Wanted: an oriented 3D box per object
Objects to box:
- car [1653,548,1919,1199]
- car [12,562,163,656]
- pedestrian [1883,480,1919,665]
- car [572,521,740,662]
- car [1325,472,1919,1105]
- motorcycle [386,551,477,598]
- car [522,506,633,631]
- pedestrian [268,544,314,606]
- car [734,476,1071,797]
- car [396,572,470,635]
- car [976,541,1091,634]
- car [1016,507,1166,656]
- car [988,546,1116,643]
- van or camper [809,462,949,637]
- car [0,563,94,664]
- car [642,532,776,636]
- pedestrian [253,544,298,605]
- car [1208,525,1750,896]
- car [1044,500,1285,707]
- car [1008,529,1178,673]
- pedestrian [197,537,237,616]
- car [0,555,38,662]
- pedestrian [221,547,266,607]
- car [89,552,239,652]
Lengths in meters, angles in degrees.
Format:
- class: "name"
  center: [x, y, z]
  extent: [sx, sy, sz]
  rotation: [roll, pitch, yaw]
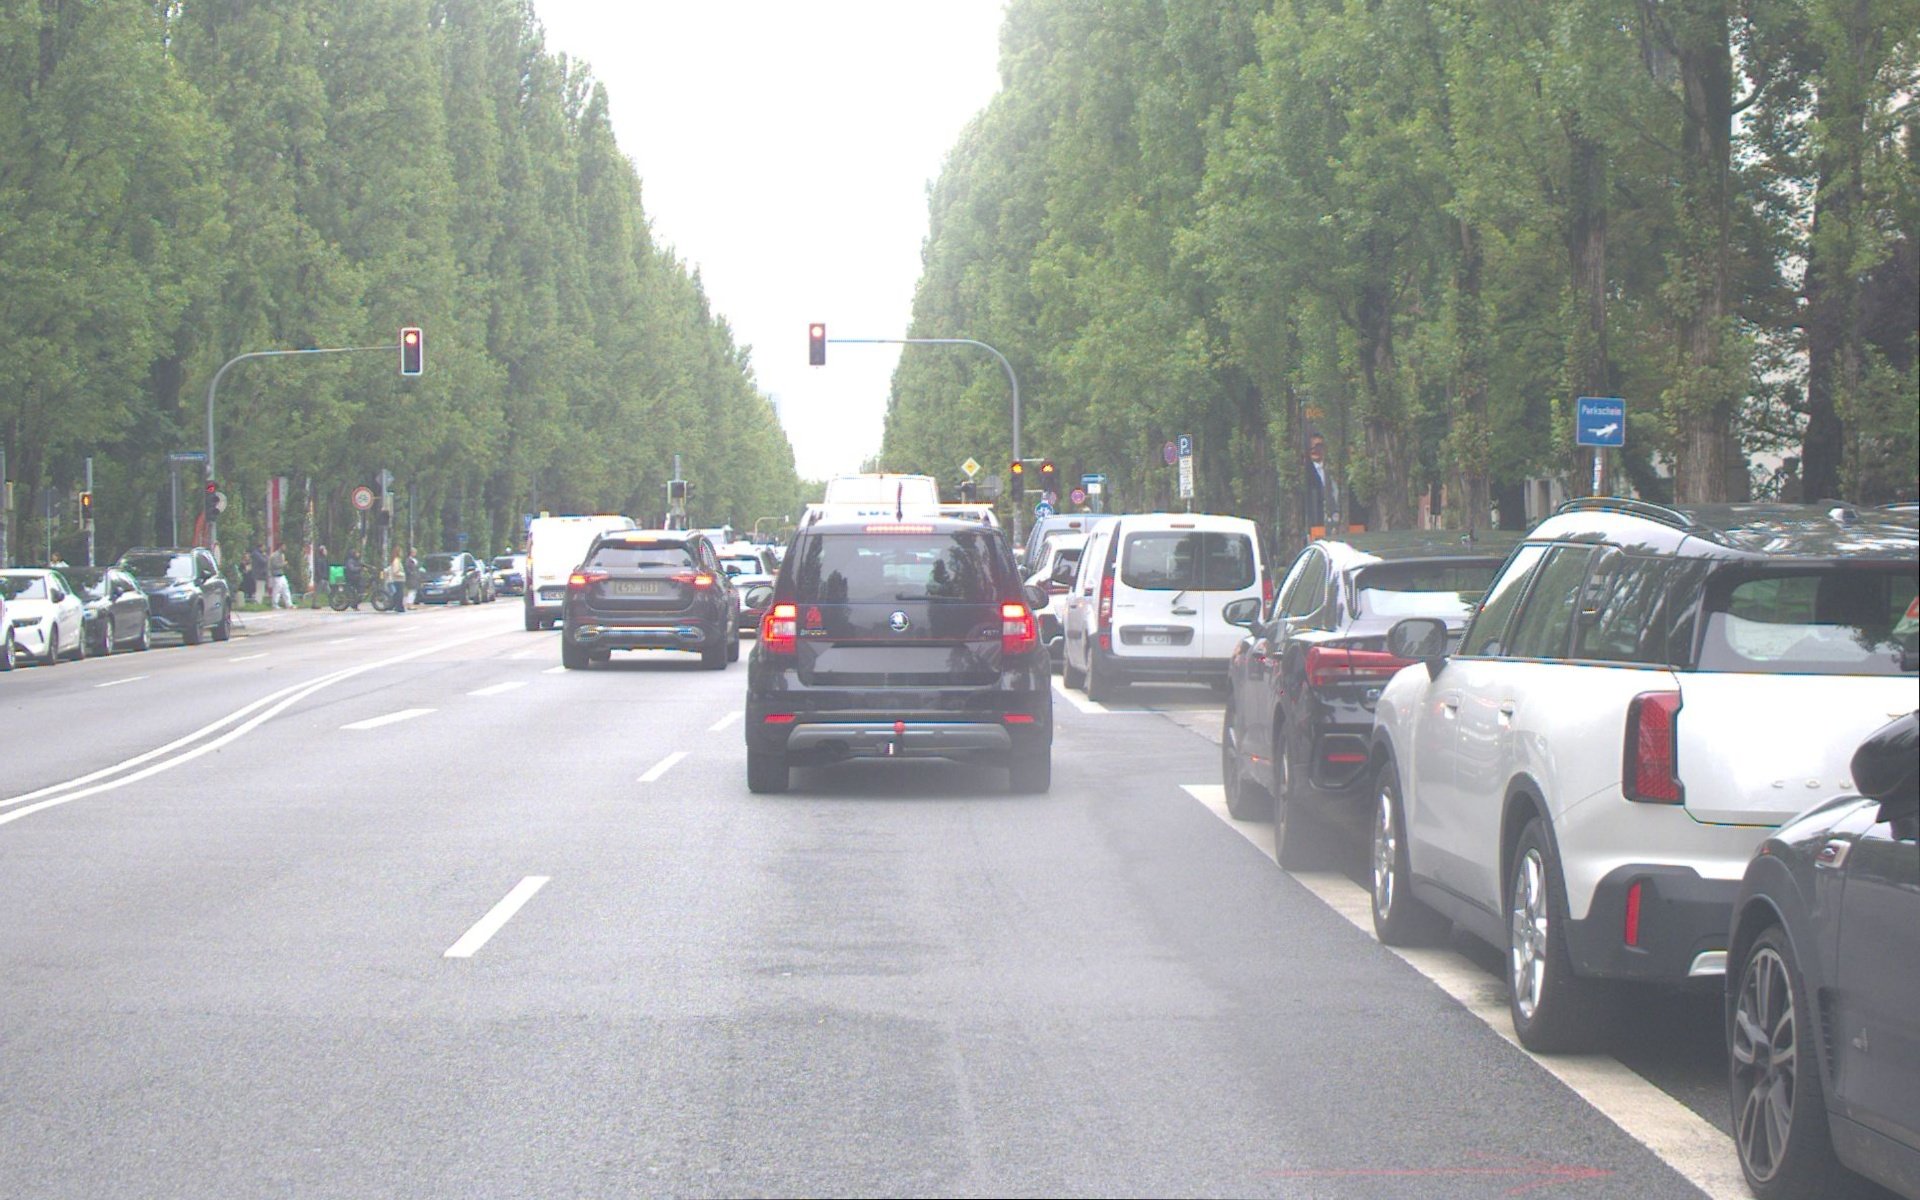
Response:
- class: "car"
  center: [2.655, 0.673, 6.511]
  extent: [1.702, 1.514, 4.295]
  rotation: [-1, 1, -2]
- class: "car"
  center: [-14.366, 0.122, 56.774]
  extent: [1.623, 1.384, 4.167]
  rotation: [-3, 1, -4]
- class: "pedestrian"
  center: [9.263, -0.273, 32.337]
  extent: [0.853, 1.711, 0.867]
  rotation: [-2, 1, -2]
- class: "car"
  center: [-3.619, -0.143, 41.505]
  extent: [1.781, 1.614, 4.025]
  rotation: [0, 1, -1]
- class: "car"
  center: [2.396, 0.444, 11.436]
  extent: [1.742, 1.670, 4.580]
  rotation: [-1, 1, -2]
- class: "motorcycle"
  center: [-14.580, -0.713, 94.805]
  extent: [2.363, 1.265, 0.930]
  rotation: [0, 1, -1]
- class: "car"
  center: [-6.662, -0.576, 60.162]
  extent: [1.781, 2.104, 4.025]
  rotation: [0, 1, -4]
- class: "pedestrian"
  center: [-18.232, -0.688, 93.661]
  extent: [0.880, 1.649, 0.878]
  rotation: [-2, 1, -39]
- class: "car"
  center: [-0.364, 0.172, 21.326]
  extent: [1.855, 1.764, 4.000]
  rotation: [1, 1, -1]
- class: "car"
  center: [-15.813, 0.098, 103.265]
  extent: [1.688, 1.776, 3.775]
  rotation: [-1, 1, -1]
- class: "car"
  center: [1.207, -0.230, 57.550]
  extent: [1.735, 1.470, 3.563]
  rotation: [-1, 1, -1]
- class: "car"
  center: [1.714, -0.281, 46.177]
  extent: [1.735, 1.889, 4.025]
  rotation: [-1, 1, -1]
- class: "car"
  center: [1.365, -0.108, 52.047]
  extent: [1.735, 1.382, 3.563]
  rotation: [-1, 1, -1]
- class: "van or camper"
  center: [-1.273, -0.783, 52.467]
  extent: [1.975, 2.539, 4.025]
  rotation: [-1, 1, -3]
- class: "car"
  center: [-14.110, 0.197, 51.221]
  extent: [1.623, 1.384, 4.168]
  rotation: [-3, 1, -5]
- class: "car"
  center: [-4.006, -0.291, 55.396]
  extent: [1.993, 1.555, 4.001]
  rotation: [-1, 2, -2]
- class: "pedestrian"
  center: [-18.788, -0.697, 94.373]
  extent: [0.880, 1.649, 0.878]
  rotation: [-2, 1, -39]
- class: "car"
  center: [2.348, 0.416, 16.703]
  extent: [1.880, 1.535, 4.464]
  rotation: [-1, 1, -1]
- class: "car"
  center: [1.936, -0.016, 33.697]
  extent: [1.851, 1.875, 4.169]
  rotation: [-1, 1, -3]
- class: "car"
  center: [1.534, -0.034, 40.902]
  extent: [1.741, 1.587, 4.212]
  rotation: [-1, 1, -1]
- class: "pedestrian"
  center: [-14.968, -0.483, 69.225]
  extent: [0.660, 1.572, 0.530]
  rotation: [-1, 1, -1]
- class: "car"
  center: [-13.788, 0.160, 47.272]
  extent: [1.427, 1.442, 2.966]
  rotation: [-4, 1, -2]
- class: "pedestrian"
  center: [-19.854, -0.642, 95.249]
  extent: [0.880, 1.649, 0.878]
  rotation: [-2, 1, -39]
- class: "car"
  center: [-14.472, 0.007, 62.722]
  extent: [1.849, 1.648, 4.697]
  rotation: [-3, 1, -4]
